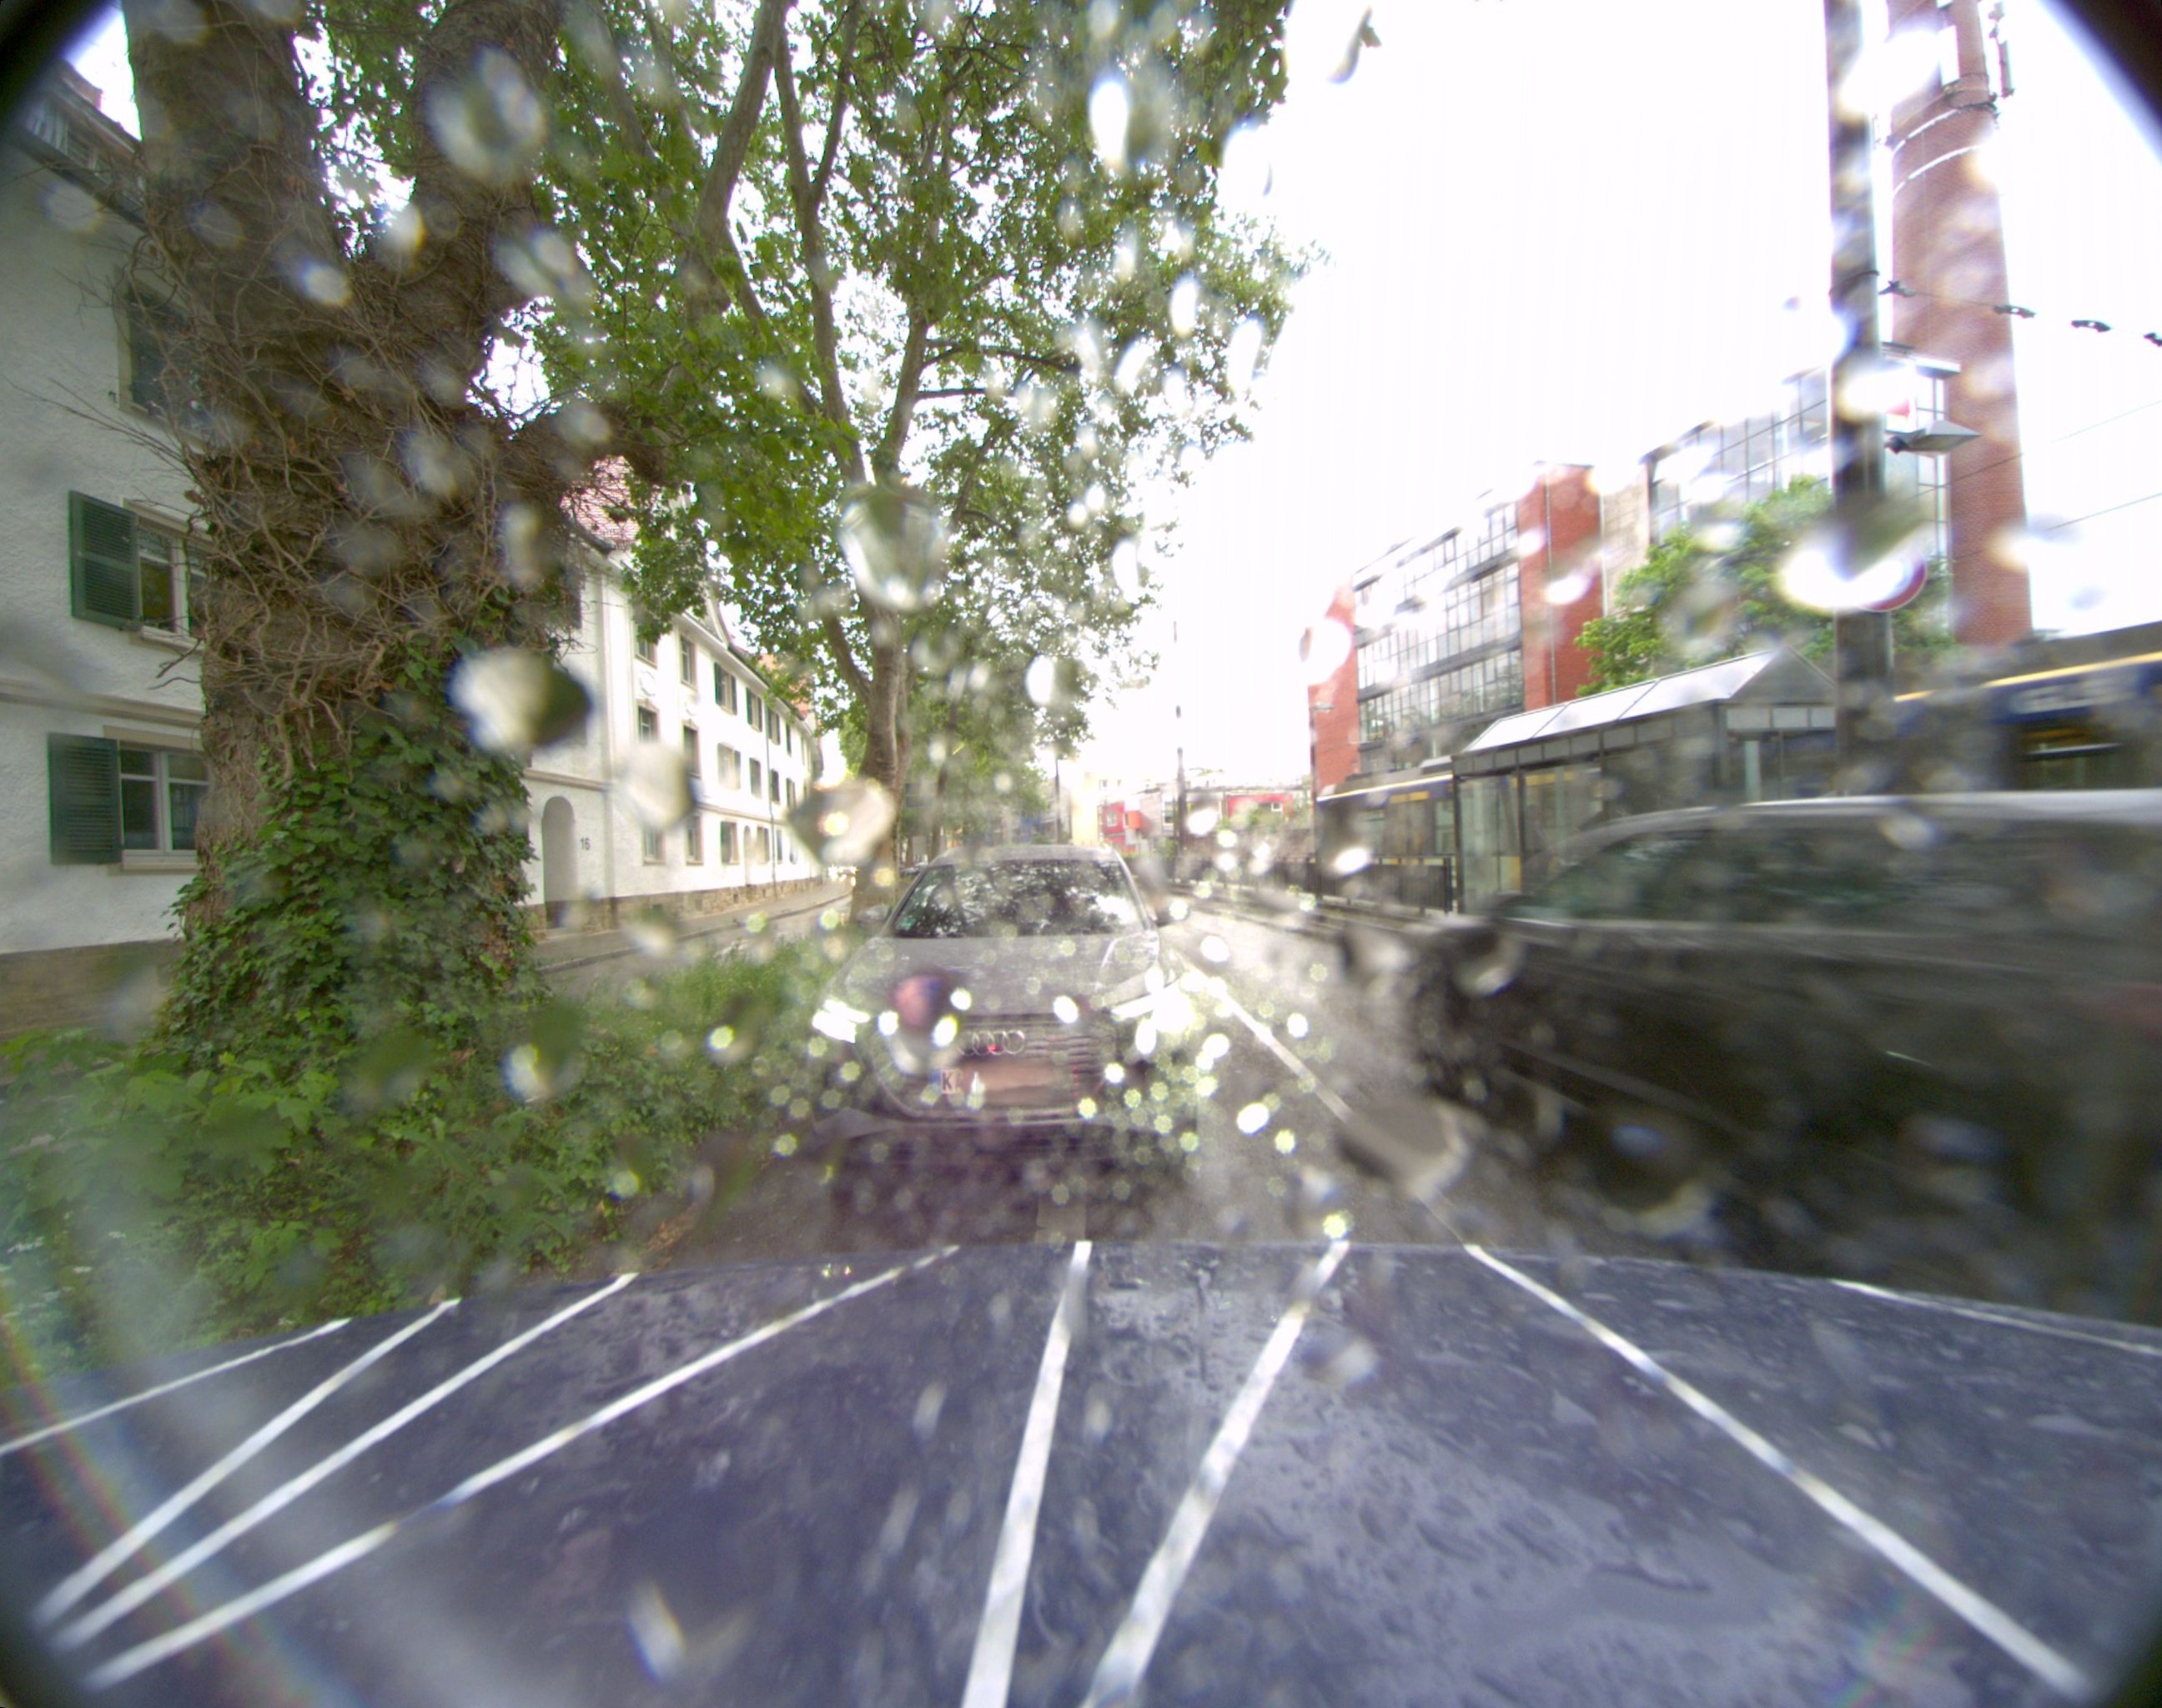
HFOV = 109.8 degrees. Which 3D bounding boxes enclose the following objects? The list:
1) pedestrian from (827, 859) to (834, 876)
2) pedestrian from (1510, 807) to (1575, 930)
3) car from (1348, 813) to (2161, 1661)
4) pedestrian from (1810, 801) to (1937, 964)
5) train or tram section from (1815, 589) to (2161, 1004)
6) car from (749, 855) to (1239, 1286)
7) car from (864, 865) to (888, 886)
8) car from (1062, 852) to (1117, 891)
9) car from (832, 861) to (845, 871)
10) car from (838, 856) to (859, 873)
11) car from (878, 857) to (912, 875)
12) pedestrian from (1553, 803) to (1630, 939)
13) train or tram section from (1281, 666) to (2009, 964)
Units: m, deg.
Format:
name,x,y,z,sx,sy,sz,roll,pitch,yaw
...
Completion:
name,x,y,z,sx,sy,sz,roll,pitch,yaw
pedestrian,-27.889,1.499,84.734,0.674,1.811,0.678,-3,1,-18
pedestrian,6.764,0.209,11.153,0.629,1.738,0.514,-2,1,9
car,2.945,0.728,3.223,1.808,1.673,4.602,-2,0,-2
pedestrian,8.034,0.281,7.720,0.798,1.588,0.506,0,-2,-10
train or tram section,11.387,-0.544,2.505,2.870,3.525,13.703,-2,0,-11
car,-0.403,0.877,5.133,1.917,1.632,4.106,-2,0,-2
car,-16.619,1.734,61.756,1.758,1.560,4.230,-3,0,-15
car,0.308,0.770,35.207,1.757,1.582,4.231,-3,0,-10
car,-41.808,2.080,130.967,1.834,1.517,3.993,-3,1,-19
car,-33.924,1.512,110.787,2.199,2.250,5.401,-3,0,-24
car,-23.203,1.511,94.671,4.002,2.002,1.997,-2,0,-17
pedestrian,6.743,0.222,10.058,0.629,1.738,0.564,-2,1,9
train or tram section,8.966,-0.515,16.831,2.869,3.525,15.361,-2,0,-8
